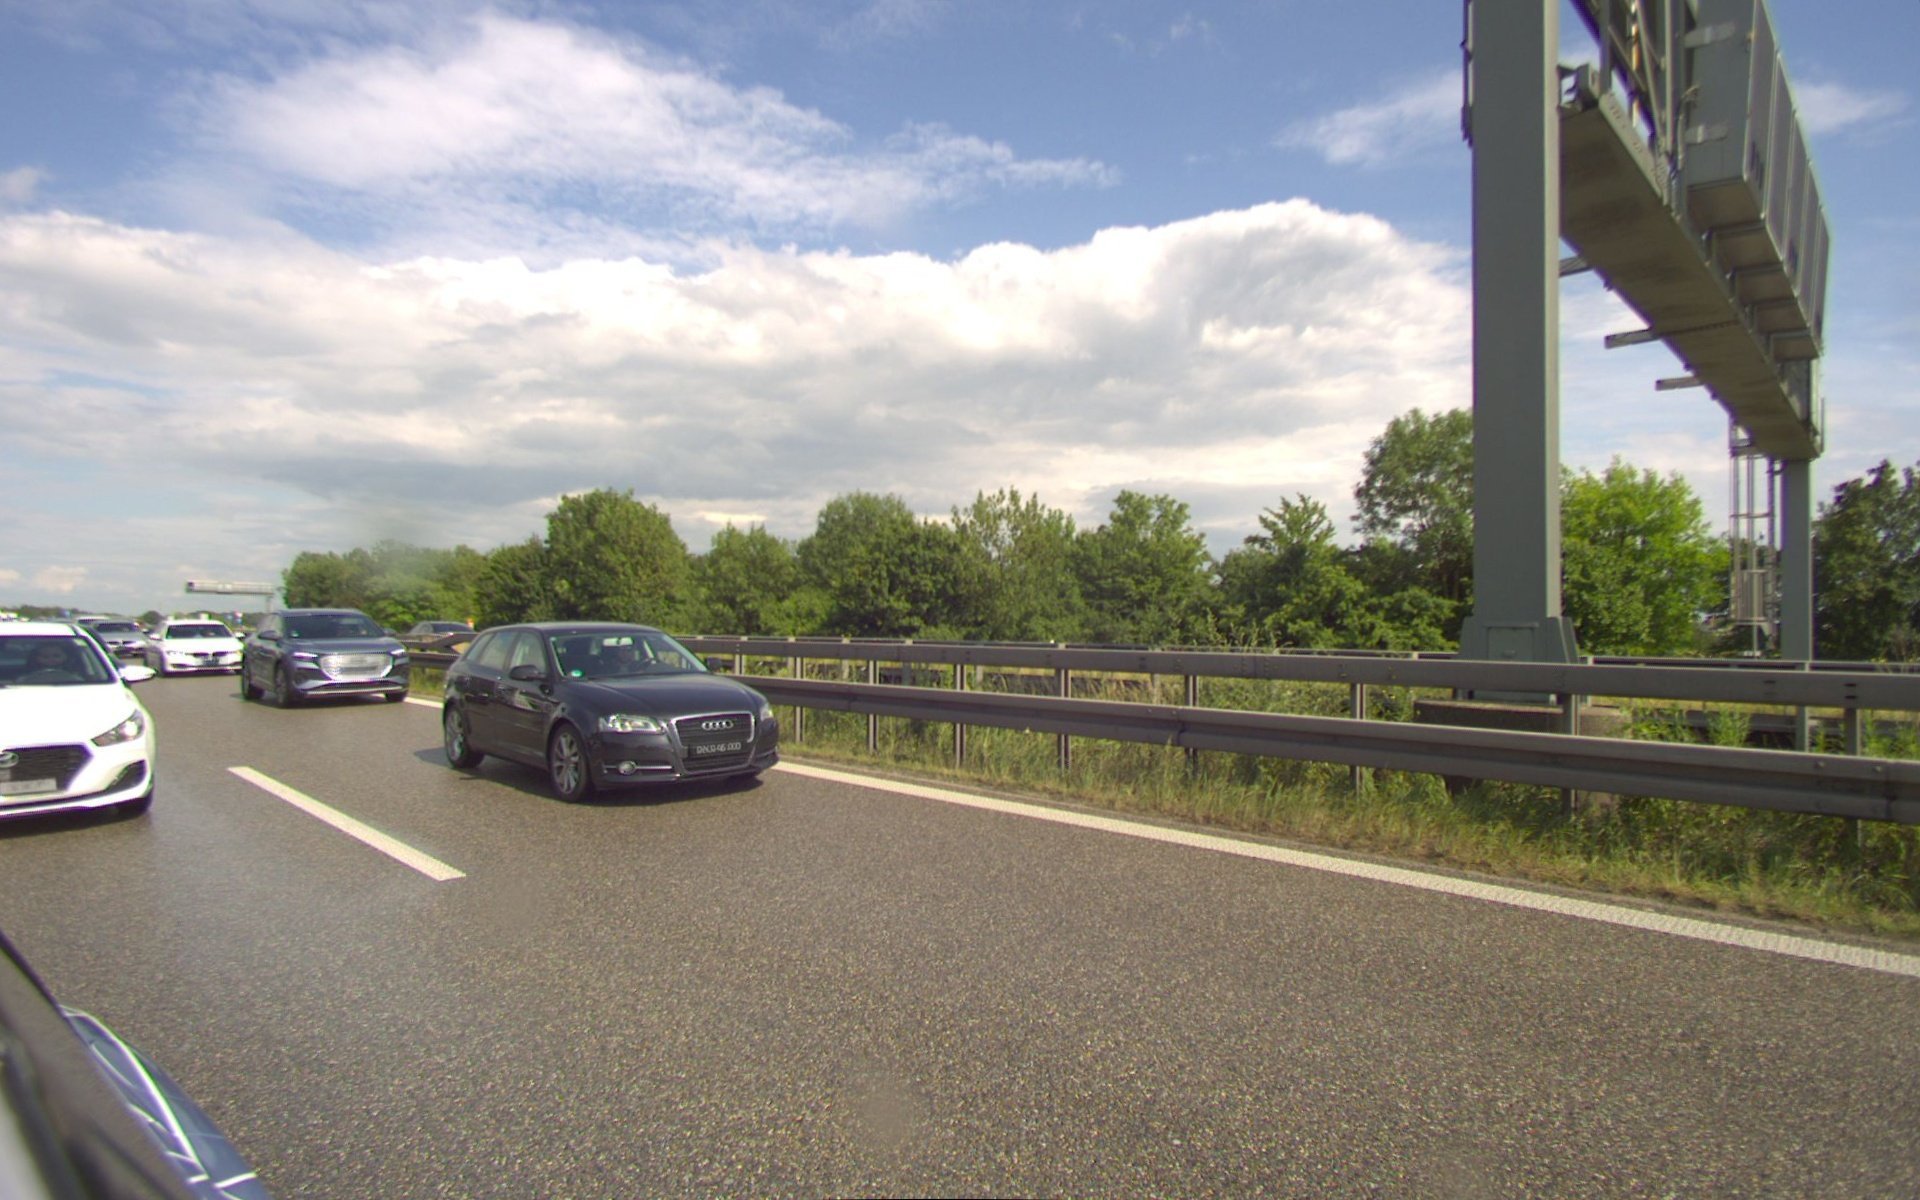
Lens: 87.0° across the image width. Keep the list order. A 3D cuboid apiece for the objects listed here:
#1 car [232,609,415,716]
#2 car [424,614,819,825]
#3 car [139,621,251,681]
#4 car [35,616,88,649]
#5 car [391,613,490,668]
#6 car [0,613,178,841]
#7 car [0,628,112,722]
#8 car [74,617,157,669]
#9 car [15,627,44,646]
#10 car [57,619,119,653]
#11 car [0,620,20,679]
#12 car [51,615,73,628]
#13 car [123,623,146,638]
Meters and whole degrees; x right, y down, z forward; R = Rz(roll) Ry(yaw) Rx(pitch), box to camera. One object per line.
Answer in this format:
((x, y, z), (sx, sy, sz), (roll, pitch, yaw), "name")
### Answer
((-11.170, 0.990, 17.641), (1.849, 1.618, 4.231), (0, -1, -44), "car")
((-3.220, 0.862, 9.133), (1.746, 1.436, 4.141), (-1, 0, -44), "car")
((-19.983, 1.271, 26.380), (4.001, 1.389, 1.747), (0, -1, 44), "car")
((-51.972, 1.853, 58.515), (4.001, 1.710, 1.971), (0, 1, 44), "car")
((-17.984, 1.356, 34.963), (1.970, 1.748, 4.003), (1, -1, -44), "car")
((-7.820, 0.861, 8.106), (4.549, 1.466, 1.860), (-1, -1, 44), "car")
((-15.209, 1.139, 16.498), (4.289, 1.348, 1.705), (-1, -1, 44), "car")
((-31.968, 1.557, 38.273), (4.001, 1.762, 1.971), (0, 1, 44), "car")
((-95.513, 3.706, 103.835), (4.001, 1.710, 1.971), (0, 1, 44), "car")
((-42.936, 1.751, 49.796), (4.001, 1.490, 1.971), (0, 1, 44), "car")
((-26.952, 1.307, 27.401), (4.001, 1.497, 1.971), (0, -1, 44), "car")
((-127.060, 3.022, 143.183), (4.463, 1.792, 1.971), (-1, -1, 45), "car")
((-115.022, 4.257, 141.008), (4.654, 2.029, 1.971), (-1, -1, 44), "car")
